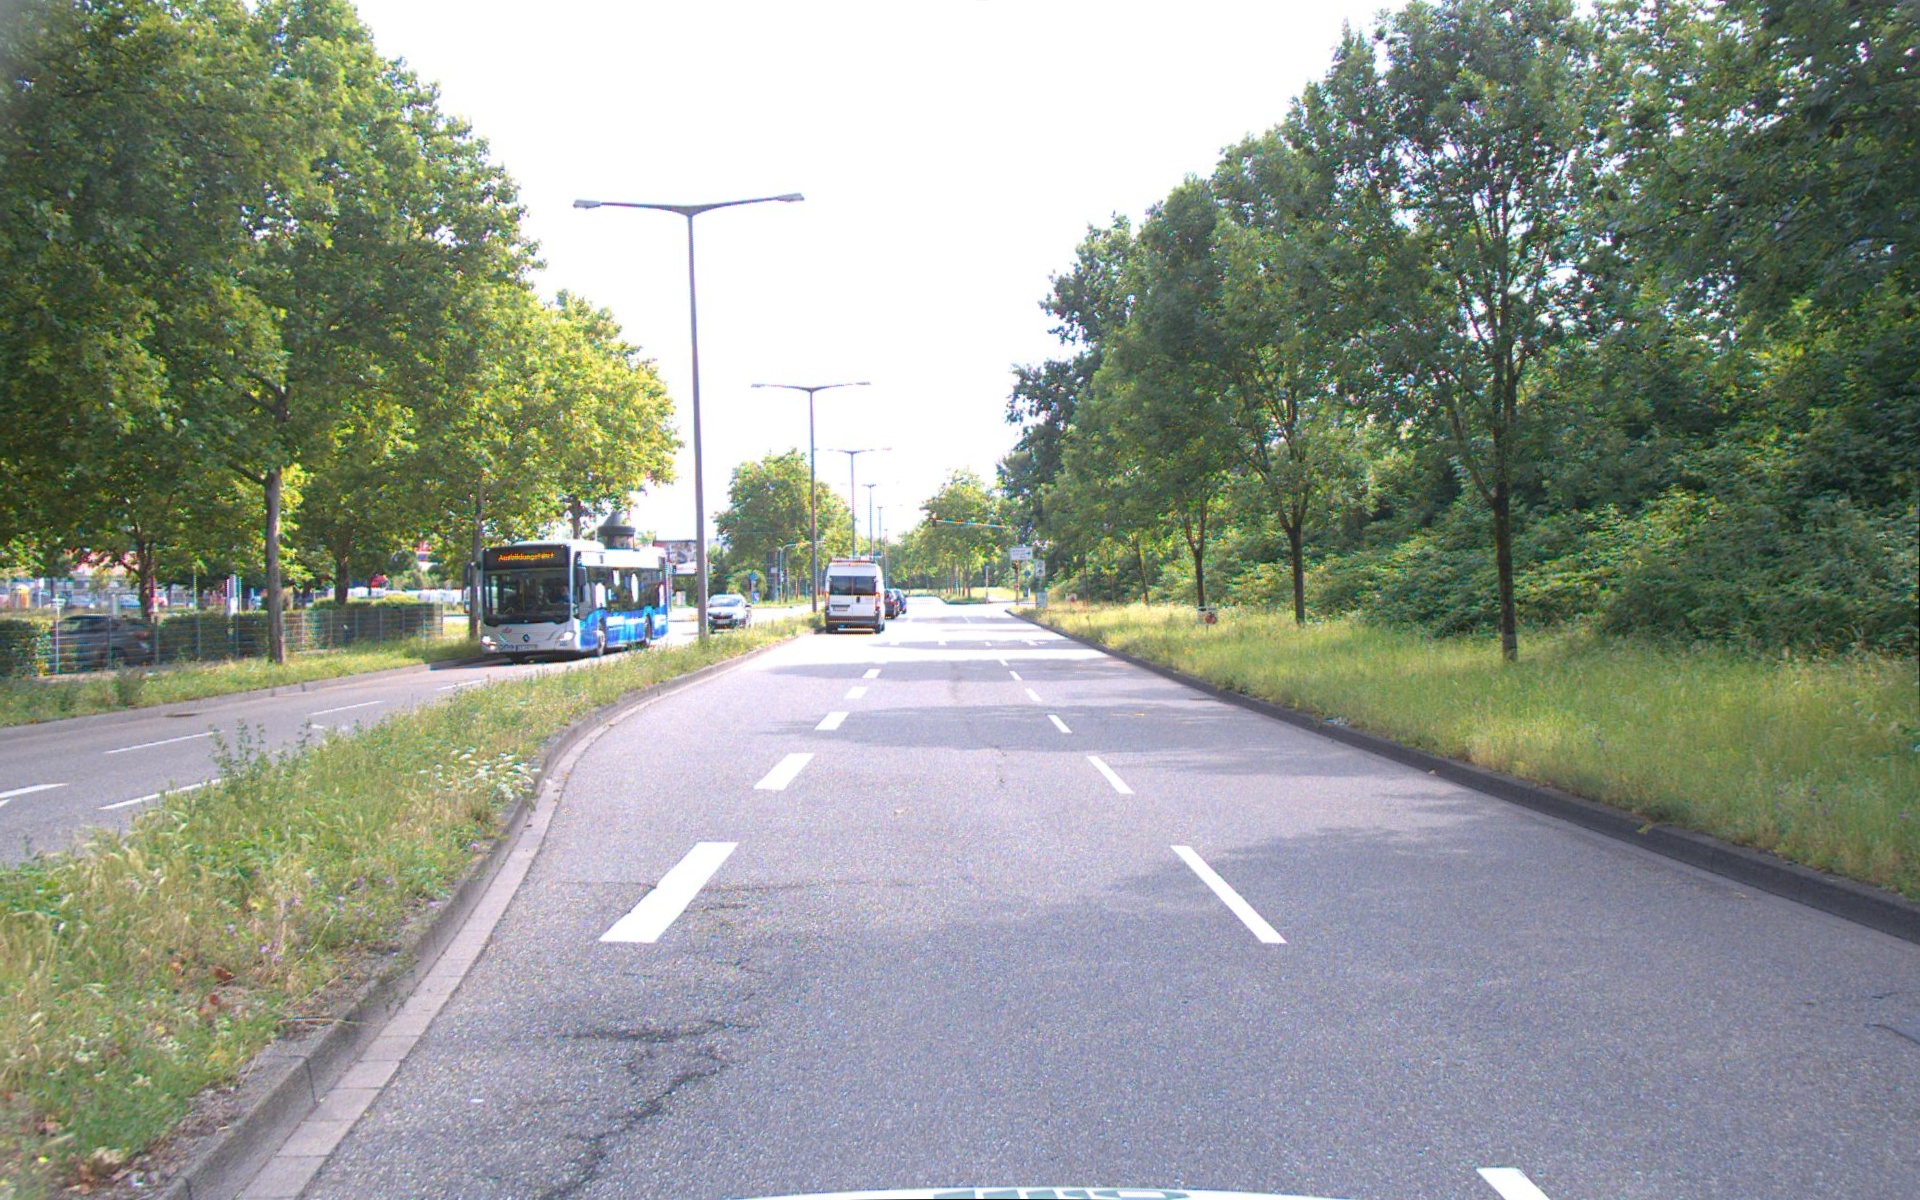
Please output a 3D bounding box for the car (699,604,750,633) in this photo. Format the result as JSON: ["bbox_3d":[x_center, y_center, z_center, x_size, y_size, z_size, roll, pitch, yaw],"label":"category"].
[{"bbox_3d":[-9.179,0.703,64.626,1.527,1.059,3.413,-1,0,-1],"label":"car"}]

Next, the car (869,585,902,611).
[{"bbox_3d":[-4.447,-0.109,98.231,1.771,1.496,3.851,-1,0,-6],"label":"car"}]

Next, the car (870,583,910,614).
[{"bbox_3d":[-3.630,-0.077,85.216,1.771,1.496,3.851,-1,0,-6],"label":"car"}]

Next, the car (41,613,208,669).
[{"bbox_3d":[-24.678,1.229,48.946,3.905,1.624,1.898,0,-3,0],"label":"car"}]

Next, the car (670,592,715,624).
[{"bbox_3d":[-14.597,0.461,90.456,1.846,1.611,3.879,0,-3,-1],"label":"car"}]

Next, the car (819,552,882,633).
[{"bbox_3d":[-3.963,-0.331,60.494,2.153,2.773,4.930,0,2,-2],"label":"car"}]

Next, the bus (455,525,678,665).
[{"bbox_3d":[-10.766,-0.149,46.983,3.045,3.331,12.339,-2,0,1],"label":"bus"}]
